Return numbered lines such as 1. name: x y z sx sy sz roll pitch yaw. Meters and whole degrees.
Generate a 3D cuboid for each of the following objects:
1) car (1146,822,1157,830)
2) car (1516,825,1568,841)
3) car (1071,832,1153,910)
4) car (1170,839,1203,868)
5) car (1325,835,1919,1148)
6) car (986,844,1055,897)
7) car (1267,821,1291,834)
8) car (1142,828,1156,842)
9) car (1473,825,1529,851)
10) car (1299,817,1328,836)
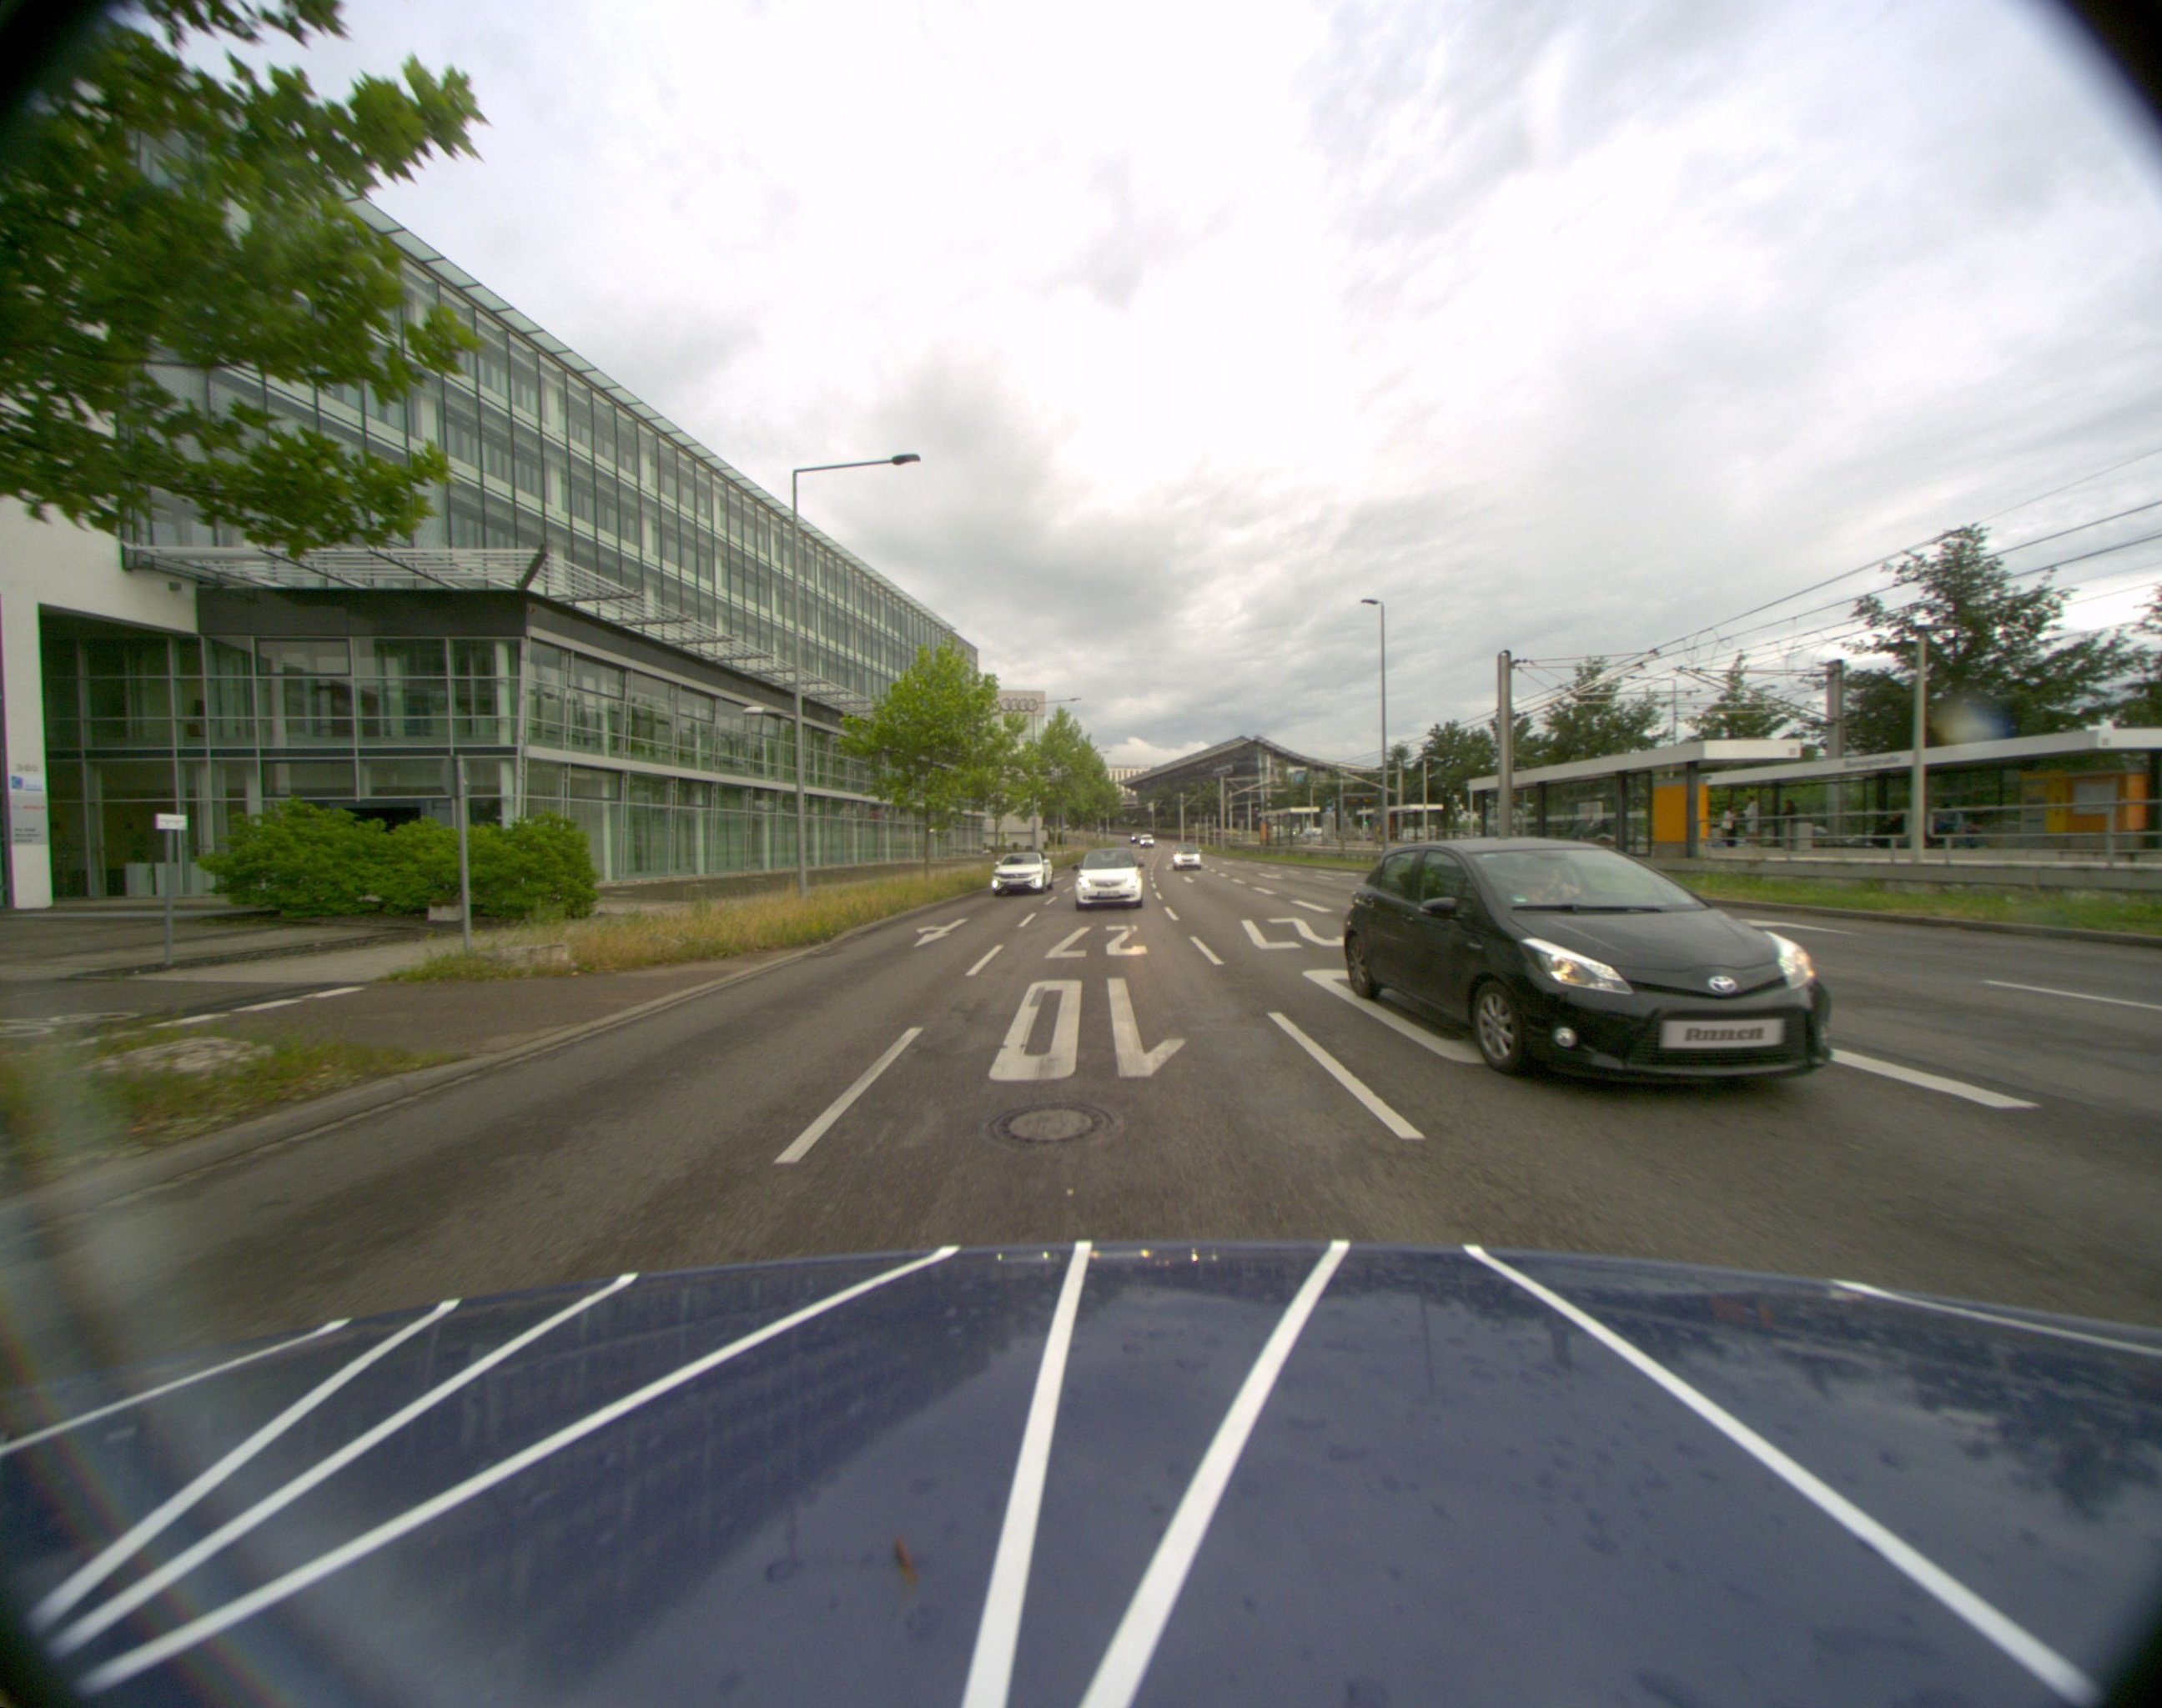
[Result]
1. car: 16.929 -6.620 181.559 1.999 1.837 3.998 -4 2 -2
2. car: 35.585 -1.621 58.705 1.530 1.125 3.933 -4 2 -1
3. car: 0.771 0.424 19.545 1.805 1.712 4.001 -3 -1 2
4. car: 6.111 -0.059 44.238 1.739 1.470 4.001 -3 1 7
5. car: 3.365 0.687 5.786 1.697 1.514 3.904 -2 0 0
6. car: -2.113 0.541 27.628 1.998 1.669 3.821 -3 2 3
7. car: 28.328 -3.784 108.802 1.999 1.721 5.028 -3 2 -1
8. car: 9.449 -2.647 105.432 1.828 1.701 4.153 -3 2 4
9. car: 29.347 -1.176 53.197 1.532 1.657 4.267 -3 2 0
10. car: 28.730 -3.416 93.871 1.998 2.202 5.142 -3 2 1
